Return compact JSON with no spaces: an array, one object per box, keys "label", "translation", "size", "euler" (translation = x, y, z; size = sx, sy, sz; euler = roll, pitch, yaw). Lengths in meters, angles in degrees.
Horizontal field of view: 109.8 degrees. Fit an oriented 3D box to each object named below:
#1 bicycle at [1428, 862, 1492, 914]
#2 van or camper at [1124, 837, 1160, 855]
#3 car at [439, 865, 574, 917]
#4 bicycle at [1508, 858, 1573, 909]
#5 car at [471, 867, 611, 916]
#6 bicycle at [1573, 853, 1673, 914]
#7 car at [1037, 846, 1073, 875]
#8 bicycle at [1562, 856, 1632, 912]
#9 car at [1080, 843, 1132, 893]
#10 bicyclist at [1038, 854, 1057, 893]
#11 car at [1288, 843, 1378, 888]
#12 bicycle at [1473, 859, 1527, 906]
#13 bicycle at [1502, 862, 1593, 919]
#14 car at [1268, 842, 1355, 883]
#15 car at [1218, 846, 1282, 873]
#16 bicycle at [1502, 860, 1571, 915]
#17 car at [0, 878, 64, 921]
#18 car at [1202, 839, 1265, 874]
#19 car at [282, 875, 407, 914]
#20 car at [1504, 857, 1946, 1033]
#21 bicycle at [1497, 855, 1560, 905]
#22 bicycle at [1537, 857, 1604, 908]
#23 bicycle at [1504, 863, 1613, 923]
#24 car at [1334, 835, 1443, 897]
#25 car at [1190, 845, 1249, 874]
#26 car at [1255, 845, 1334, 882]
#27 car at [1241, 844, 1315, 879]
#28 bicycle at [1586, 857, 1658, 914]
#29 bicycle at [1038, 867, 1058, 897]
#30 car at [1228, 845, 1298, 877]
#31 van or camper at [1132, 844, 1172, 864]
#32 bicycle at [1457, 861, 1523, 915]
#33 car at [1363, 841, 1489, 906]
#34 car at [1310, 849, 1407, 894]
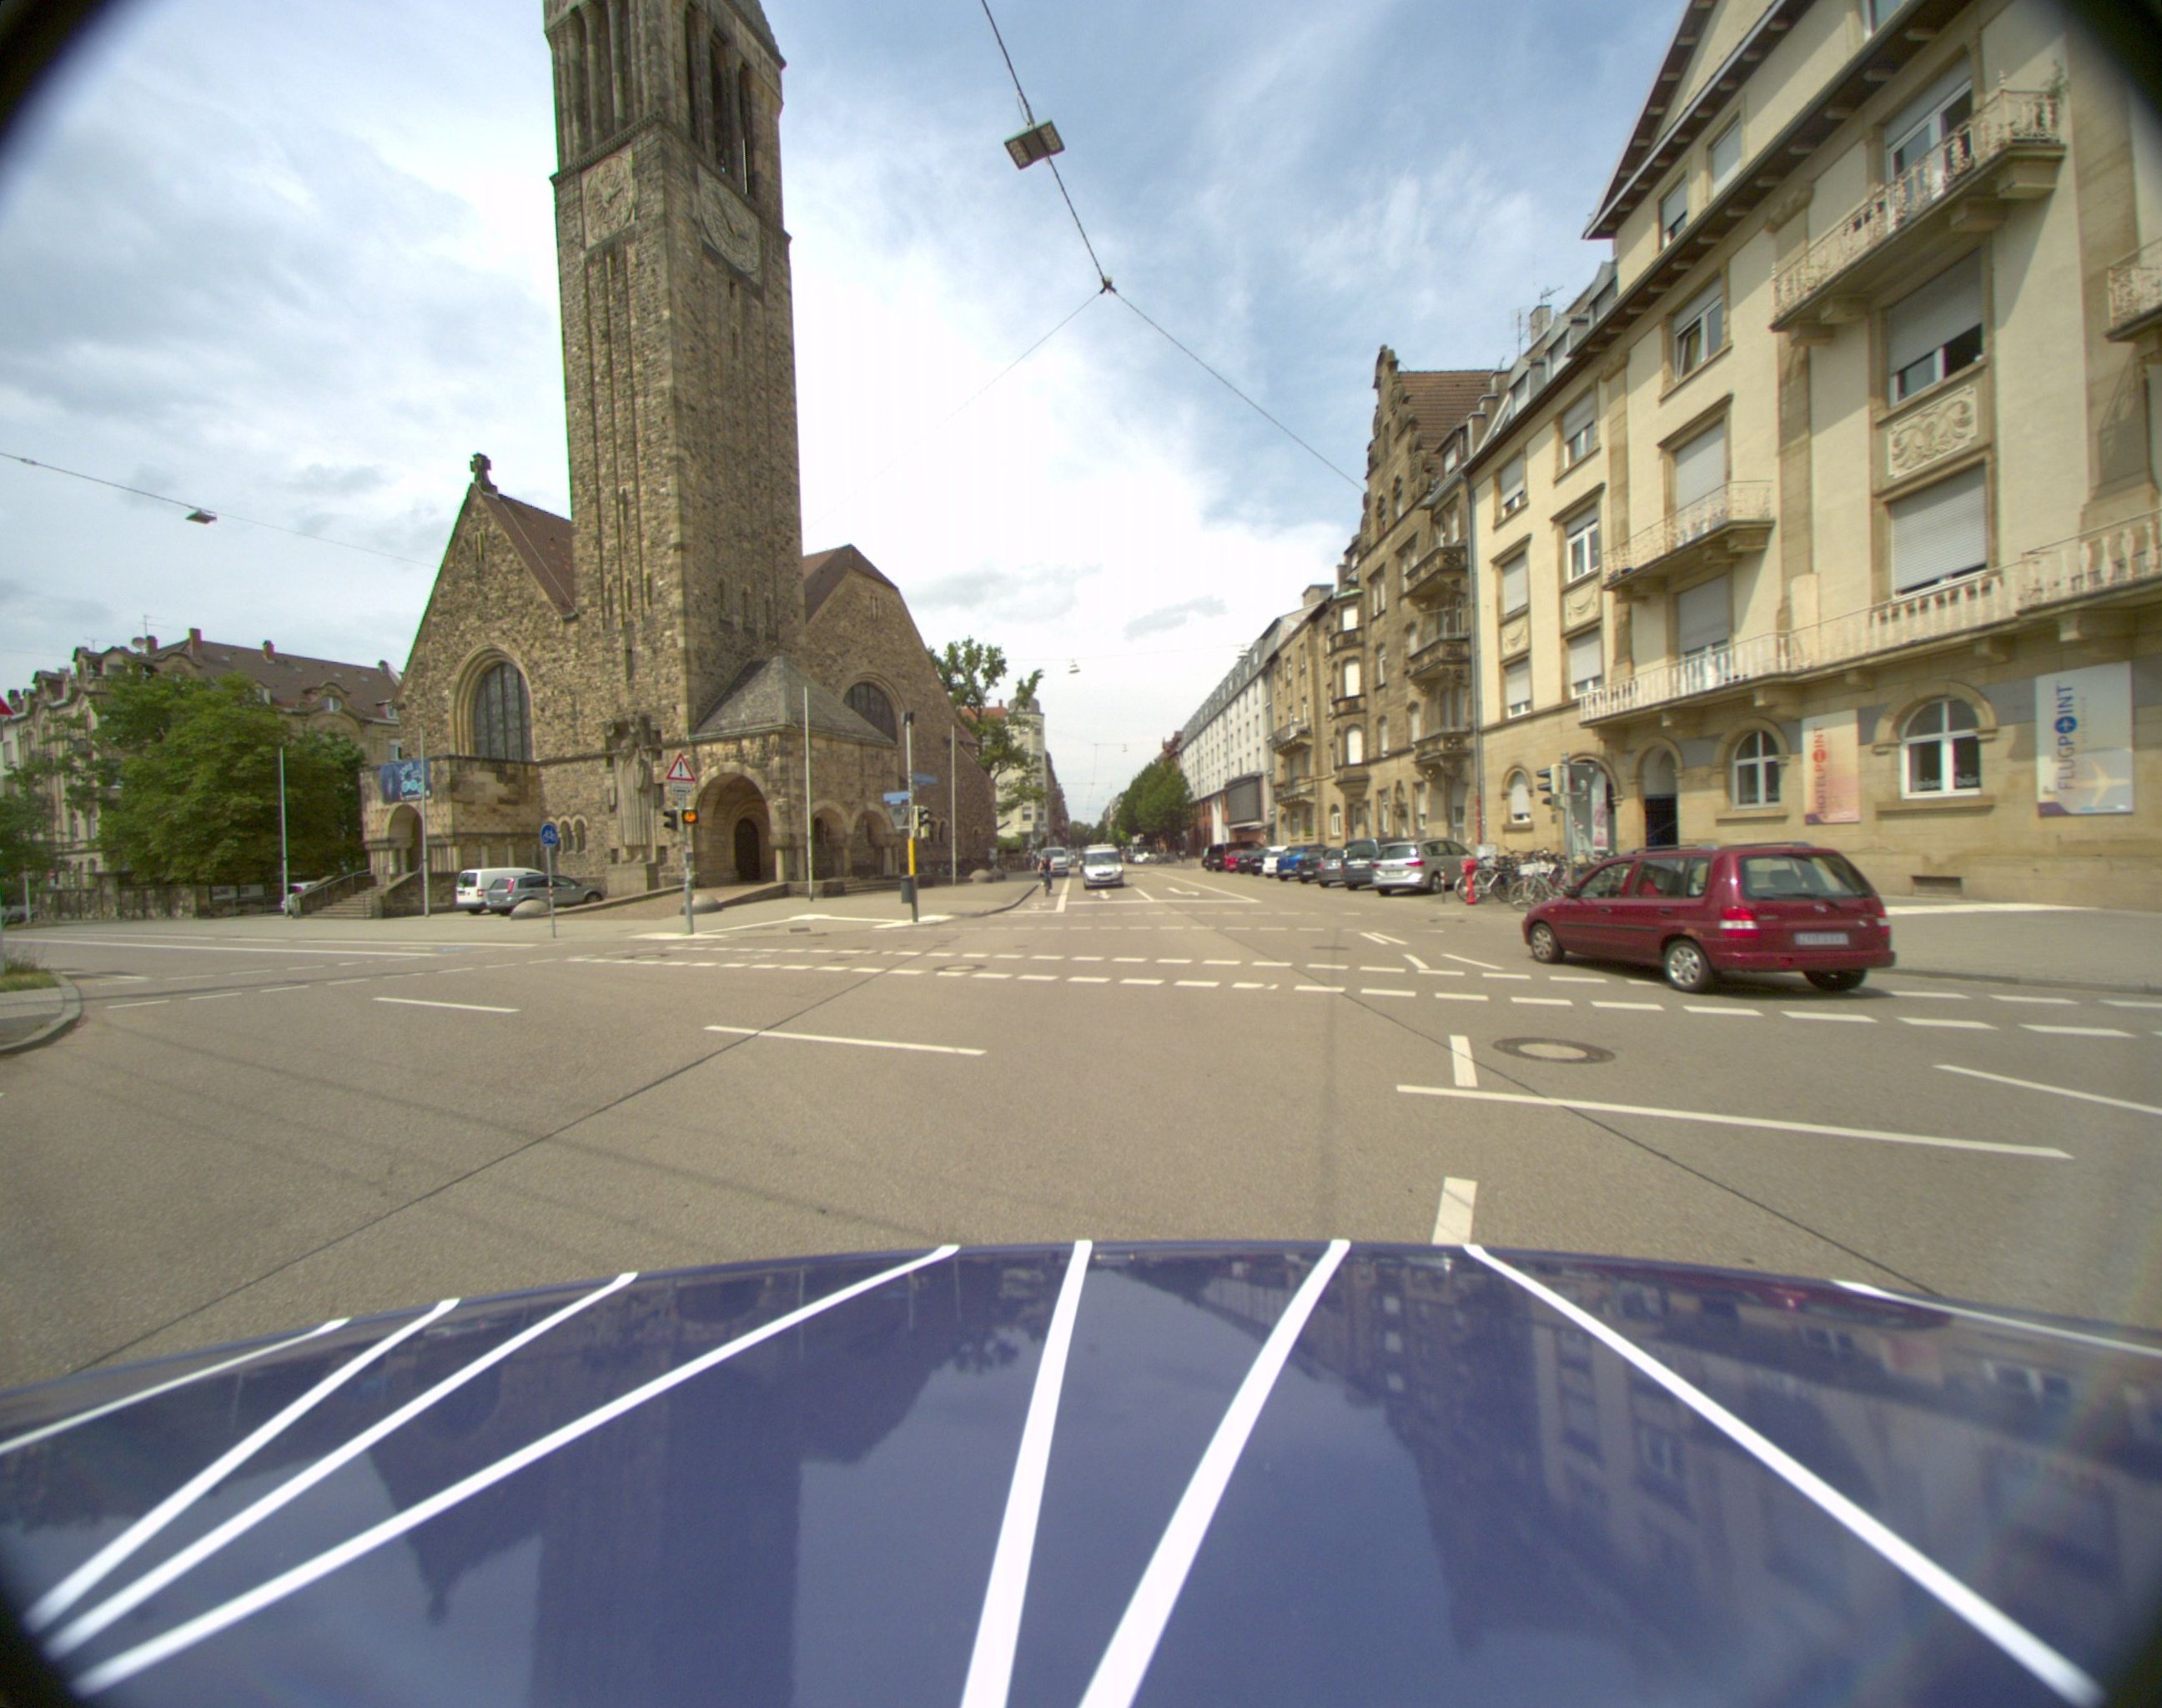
[{"label":"bicycle","translation":[9.571,0.857,19.220],"size":[1.345,1.185,0.397],"euler":[-5,1,-1]},{"label":"van or camper","translation":[7.330,-0.978,91.303],"size":[4.000,2.002,1.998],"euler":[-2,1,-8]},{"label":"car","translation":[-23.783,1.470,31.624],"size":[1.995,1.871,3.960],"euler":[-2,1,25]},{"label":"bicycle","translation":[11.426,0.726,18.907],"size":[1.345,1.185,0.397],"euler":[-2,1,-1]},{"label":"car","translation":[-21.268,1.425,30.100],"size":[1.995,1.641,4.006],"euler":[-2,1,25]},{"label":"bicycle","translation":[11.883,0.642,16.678],"size":[1.830,1.185,0.397],"euler":[-4,0,0]},{"label":"car","translation":[-1.730,0.415,51.855],"size":[2.082,1.852,4.680],"euler":[-2,1,1]},{"label":"bicycle","translation":[12.151,0.704,17.900],"size":[1.345,1.185,0.397],"euler":[-5,1,-6]},{"label":"car","translation":[1.099,0.554,34.093],"size":[2.082,2.039,4.680],"euler":[-2,1,1]},{"label":"bicyclist","translation":[-1.328,0.781,30.285],"size":[0.588,1.488,0.839],"euler":[-4,1,1]},{"label":"car","translation":[10.832,0.491,32.570],"size":[3.834,1.526,1.755],"euler":[-5,-1,-39]},{"label":"bicycle","translation":[11.090,0.741,20.104],"size":[1.347,1.185,0.397],"euler":[-2,1,-17]},{"label":"bicycle","translation":[10.556,0.812,17.203],"size":[1.821,1.185,0.397],"euler":[-2,1,-3]},{"label":"car","translation":[10.793,0.373,35.550],"size":[3.833,1.526,1.756],"euler":[-5,-1,-34]},{"label":"car","translation":[10.660,0.361,47.793],"size":[3.834,1.526,1.755],"euler":[-2,0,-34]},{"label":"bicycle","translation":[10.693,0.786,17.850],"size":[1.345,1.185,0.397],"euler":[-4,1,-3]},{"label":"car","translation":[-54.607,2.322,39.037],"size":[3.990,2.002,2.003],"euler":[-2,1,25]},{"label":"car","translation":[10.143,0.164,50.322],"size":[3.833,1.882,1.756],"euler":[-5,-1,-34]},{"label":"car","translation":[-36.622,1.996,37.888],"size":[1.995,1.631,3.960],"euler":[-2,1,25]},{"label":"car","translation":[6.919,0.828,8.855],"size":[1.767,1.515,3.999],"euler":[-1,1,0]},{"label":"bicycle","translation":[11.418,0.661,19.409],"size":[1.345,1.185,0.397],"euler":[-4,1,-5]},{"label":"bicycle","translation":[11.834,0.686,18.376],"size":[1.345,1.185,0.397],"euler":[-2,1,-1]},{"label":"bicycle","translation":[10.083,0.832,16.108],"size":[1.872,1.185,0.456],"euler":[-2,0,20]},{"label":"car","translation":[10.844,0.404,26.740],"size":[3.834,1.808,1.755],"euler":[-5,-1,-39]},{"label":"car","translation":[9.741,0.360,53.398],"size":[3.833,1.675,1.756],"euler":[-5,-1,-34]},{"label":"car","translation":[10.961,0.469,38.949],"size":[3.833,1.526,1.756],"euler":[-5,-1,-34]},{"label":"car","translation":[10.902,0.399,41.920],"size":[3.833,1.526,1.756],"euler":[-5,-1,-34]},{"label":"bicycle","translation":[12.323,0.710,17.319],"size":[1.345,1.185,0.397],"euler":[-5,1,-6]},{"label":"bicycle","translation":[-1.303,1.114,30.439],"size":[0.598,1.079,1.812],"euler":[-4,1,1]},{"label":"car","translation":[10.755,0.396,44.798],"size":[3.833,1.526,1.756],"euler":[-5,-1,-34]},{"label":"van or camper","translation":[7.725,-0.002,82.734],"size":[3.998,2.002,1.999],"euler":[-2,1,-3]},{"label":"bicycle","translation":[9.963,0.822,18.510],"size":[1.345,1.185,0.397],"euler":[-5,1,-6]},{"label":"car","translation":[10.661,0.572,23.391],"size":[4.042,1.580,1.755],"euler":[-5,-1,-39]},{"label":"car","translation":[10.775,0.654,29.376],"size":[3.835,1.526,1.755],"euler":[-2,0,-39]}]
